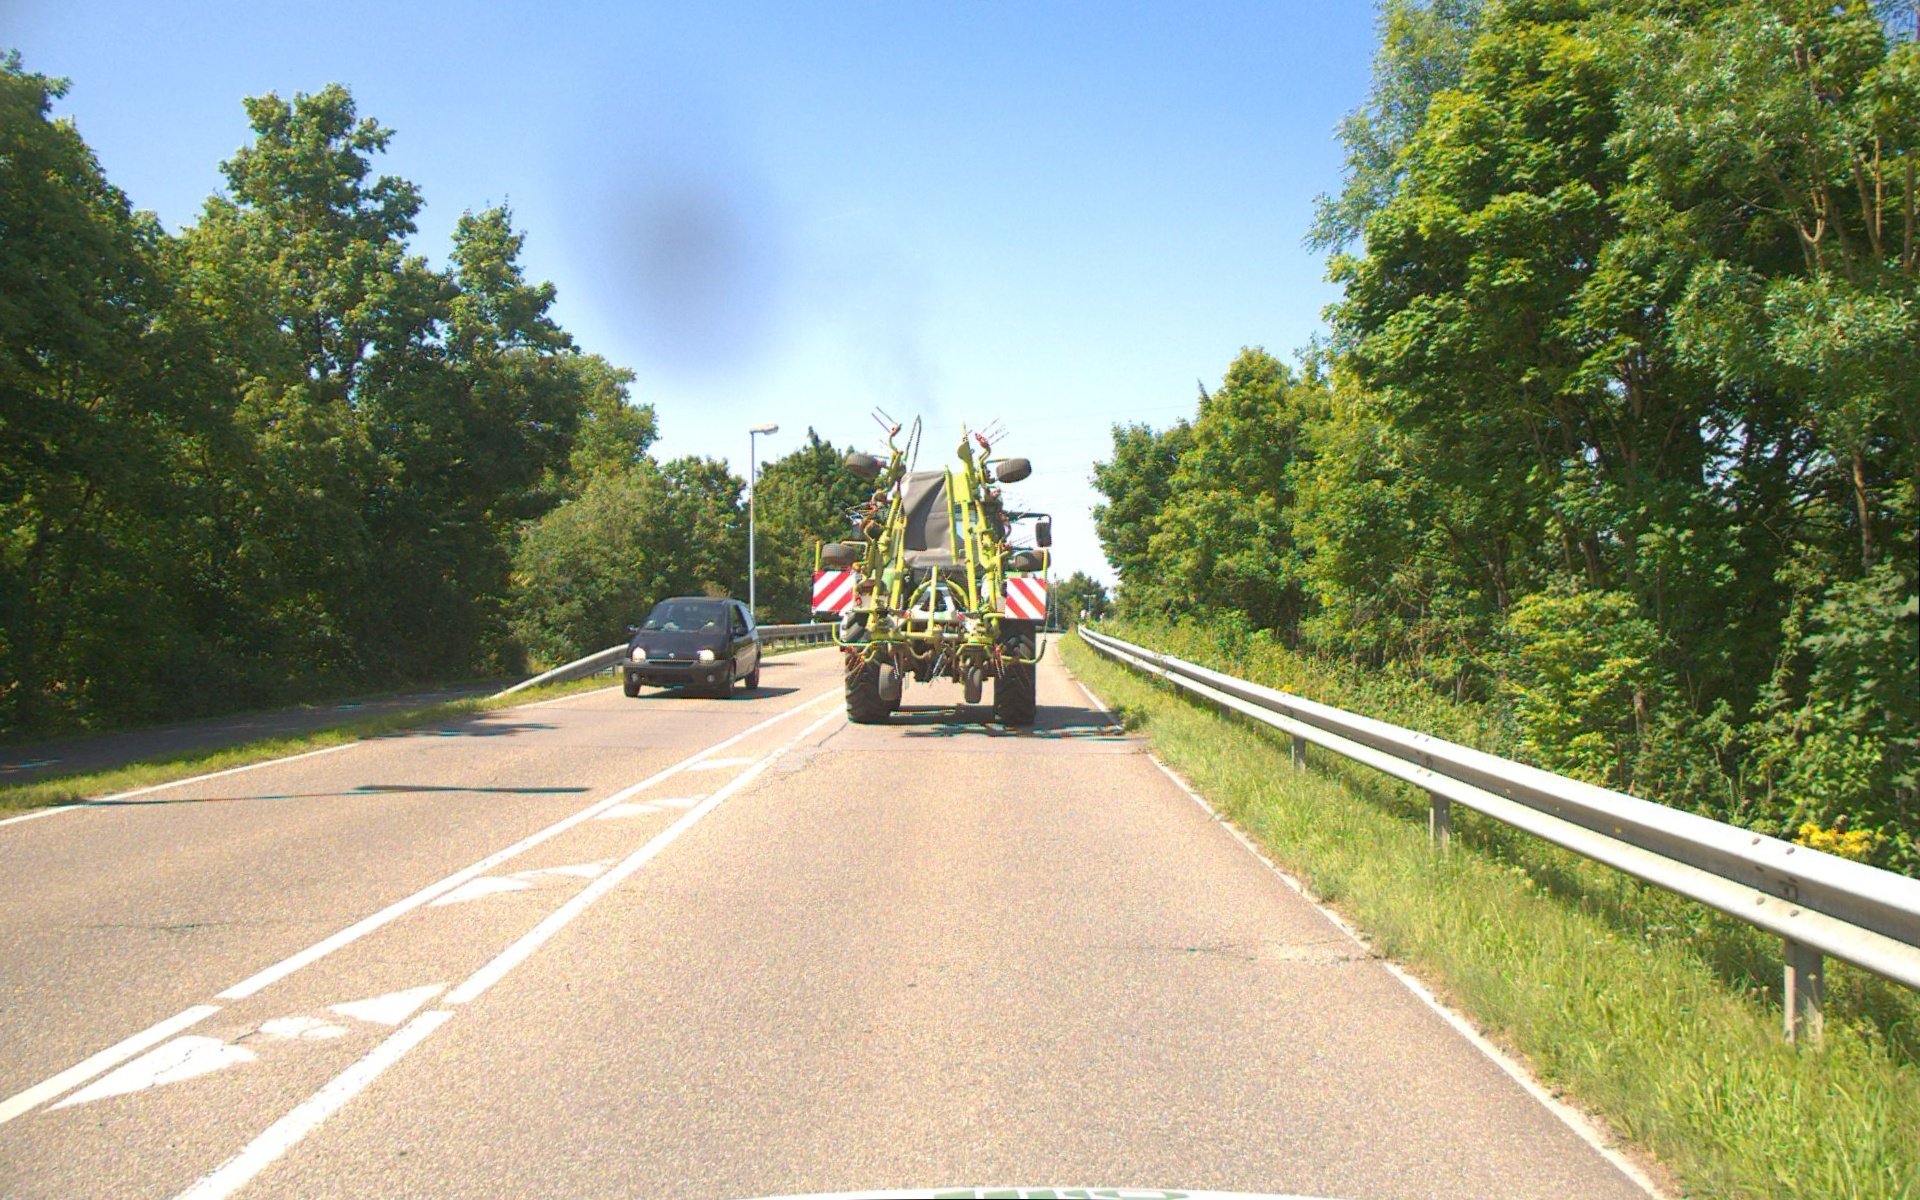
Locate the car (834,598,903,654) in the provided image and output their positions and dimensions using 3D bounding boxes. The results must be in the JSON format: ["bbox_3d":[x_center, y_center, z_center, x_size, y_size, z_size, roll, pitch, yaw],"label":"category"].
[{"bbox_3d":[-2.617,0.726,48.071,1.704,1.481,3.889,2,0,0],"label":"car"}]

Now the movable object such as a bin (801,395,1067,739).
[{"bbox_3d":[-0.260,-0.339,19.738,2.699,3.504,5.669,0,0,0],"label":"movable object such as a bin"}]

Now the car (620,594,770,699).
[{"bbox_3d":[-3.961,0.657,25.203,1.593,1.429,3.434,1,1,2],"label":"car"}]
